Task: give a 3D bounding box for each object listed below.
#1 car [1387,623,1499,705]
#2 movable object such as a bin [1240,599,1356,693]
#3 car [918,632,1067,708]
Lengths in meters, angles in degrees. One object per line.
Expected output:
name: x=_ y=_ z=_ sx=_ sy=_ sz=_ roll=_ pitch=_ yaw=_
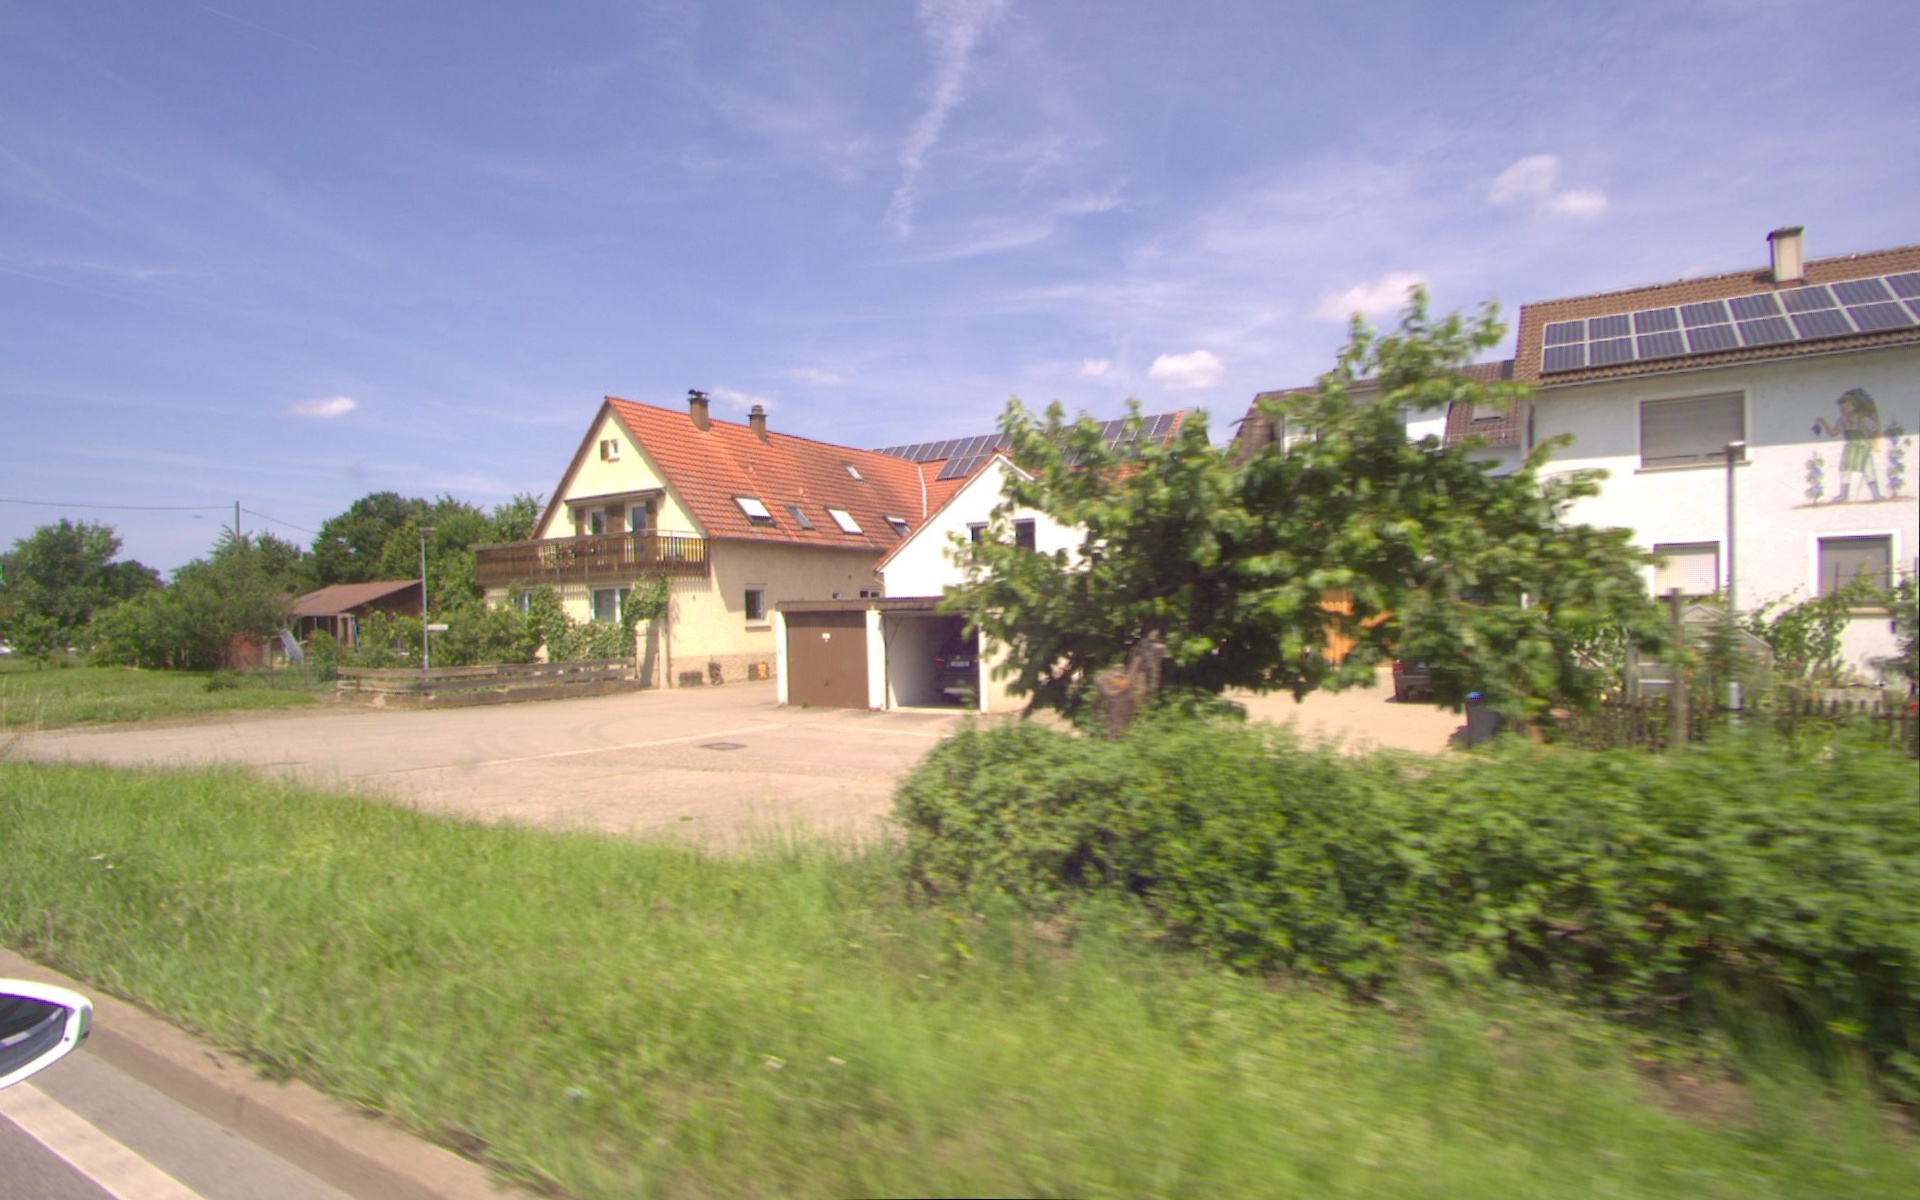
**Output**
car: x=11.651 y=1.462 z=24.020 sx=1.819 sy=1.715 sz=3.937 roll=-2 pitch=-1 yaw=34
movable object such as a bin: x=9.312 y=1.162 z=27.437 sx=2.051 sy=2.375 sz=3.698 roll=1 pitch=1 yaw=35
car: x=0.867 y=1.612 z=24.165 sx=1.808 sy=1.598 sz=3.978 roll=-2 pitch=-1 yaw=33
